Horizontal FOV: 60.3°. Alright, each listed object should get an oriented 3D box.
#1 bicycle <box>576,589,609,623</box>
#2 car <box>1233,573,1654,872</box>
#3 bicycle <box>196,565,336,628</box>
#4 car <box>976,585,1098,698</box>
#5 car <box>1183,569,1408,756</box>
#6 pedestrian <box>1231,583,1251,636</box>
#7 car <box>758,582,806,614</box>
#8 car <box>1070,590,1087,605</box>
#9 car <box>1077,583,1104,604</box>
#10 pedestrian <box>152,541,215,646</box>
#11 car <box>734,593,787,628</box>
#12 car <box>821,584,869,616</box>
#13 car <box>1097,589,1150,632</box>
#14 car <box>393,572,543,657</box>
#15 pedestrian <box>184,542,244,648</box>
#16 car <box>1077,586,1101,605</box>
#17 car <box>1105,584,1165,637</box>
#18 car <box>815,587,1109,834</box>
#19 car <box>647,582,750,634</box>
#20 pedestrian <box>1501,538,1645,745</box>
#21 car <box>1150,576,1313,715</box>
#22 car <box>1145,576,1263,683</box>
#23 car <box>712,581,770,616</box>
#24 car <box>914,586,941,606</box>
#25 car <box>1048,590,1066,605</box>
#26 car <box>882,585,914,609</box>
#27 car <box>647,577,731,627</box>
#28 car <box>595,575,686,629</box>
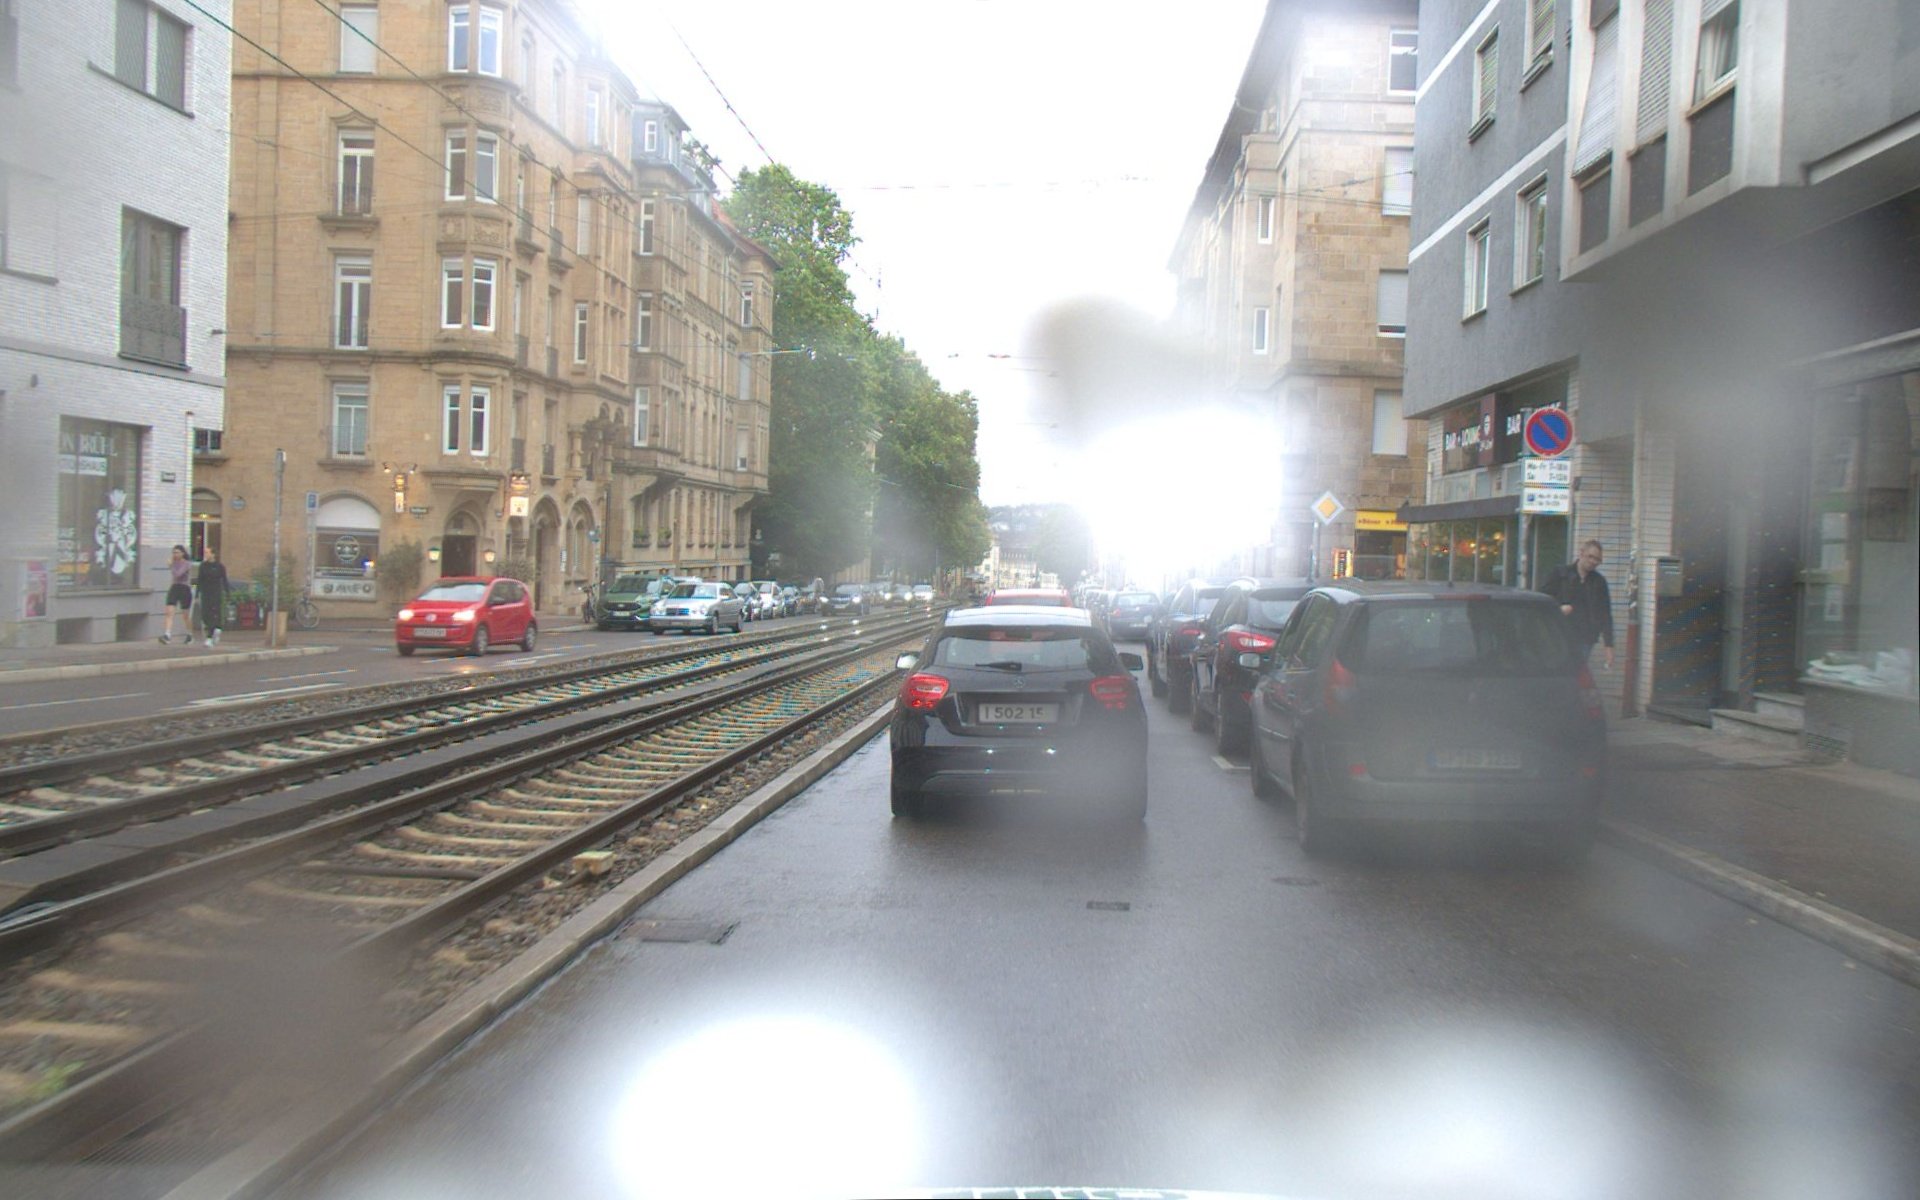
[{"bbox_3d":[-11.377,0.186,51.263,0.586,1.018,2.079,0,0,-1],"label":"bicycle"},{"bbox_3d":[2.986,0.640,11.272,1.728,1.586,4.748,0,0,3],"label":"car"},{"bbox_3d":[-18.390,-0.092,43.936,3.087,1.612,1.595,0,0,-8],"label":"bicycle"},{"bbox_3d":[1.149,0.547,24.443,1.615,1.477,4.002,2,1,3],"label":"car"},{"bbox_3d":[3.345,0.552,17.188,1.648,1.699,4.124,0,0,2],"label":"car"},{"bbox_3d":[7.890,0.262,46.448,0.445,1.492,0.611,1,0,3],"label":"pedestrian"},{"bbox_3d":[-8.168,-0.092,76.069,1.536,1.438,3.483,0,0,5],"label":"car"},{"bbox_3d":[11.682,-0.238,162.762,1.580,1.340,4.002,2,0,3],"label":"car"},{"bbox_3d":[8.304,-0.432,105.492,1.579,1.340,4.002,0,0,3],"label":"car"},{"bbox_3d":[-13.620,-0.099,29.041,0.627,1.818,0.924,0,-1,3],"label":"pedestrian"},{"bbox_3d":[-8.454,0.429,70.213,1.536,1.438,3.483,0,0,5],"label":"car"},{"bbox_3d":[-5.217,0.006,75.361,1.659,1.413,3.483,0,0,5],"label":"car"},{"bbox_3d":[5.364,0.315,54.661,1.579,1.340,4.002,0,0,3],"label":"car"},{"bbox_3d":[-9.423,0.249,31.939,1.645,1.523,3.520,0,0,4],"label":"car"},{"bbox_3d":[-13.008,-0.078,28.856,0.616,1.818,0.882,0,-1,3],"label":"pedestrian"},{"bbox_3d":[9.099,-0.331,116.797,1.579,1.340,4.002,0,0,3],"label":"car"},{"bbox_3d":[5.197,0.278,49.399,1.588,1.510,4.002,0,0,3],"label":"car"},{"bbox_3d":[0.179,0.679,12.487,1.827,1.477,4.003,2,1,5],"label":"car"},{"bbox_3d":[-7.312,0.186,46.763,1.768,1.384,4.766,0,0,5],"label":"car"},{"bbox_3d":[5.553,0.357,15.038,0.925,1.800,1.015,1,0,1],"label":"pedestrian"},{"bbox_3d":[3.607,0.539,22.686,1.713,1.699,4.705,0,0,3],"label":"car"},{"bbox_3d":[3.972,0.439,27.451,1.579,1.633,4.002,0,0,3],"label":"car"},{"bbox_3d":[-8.653,-0.059,65.608,1.536,1.339,3.483,0,0,5],"label":"car"},{"bbox_3d":[-2.290,-0.284,117.993,1.536,1.438,3.483,0,0,5],"label":"car"},{"bbox_3d":[8.848,-0.269,150.516,1.579,1.340,4.002,0,0,3],"label":"car"},{"bbox_3d":[-3.796,-0.195,101.552,1.536,1.438,3.483,0,0,5],"label":"car"},{"bbox_3d":[-9.275,0.053,56.914,1.768,1.625,4.528,0,0,5],"label":"car"},{"bbox_3d":[-9.570,0.044,49.817,1.686,1.568,3.936,0,0,5],"label":"car"}]
